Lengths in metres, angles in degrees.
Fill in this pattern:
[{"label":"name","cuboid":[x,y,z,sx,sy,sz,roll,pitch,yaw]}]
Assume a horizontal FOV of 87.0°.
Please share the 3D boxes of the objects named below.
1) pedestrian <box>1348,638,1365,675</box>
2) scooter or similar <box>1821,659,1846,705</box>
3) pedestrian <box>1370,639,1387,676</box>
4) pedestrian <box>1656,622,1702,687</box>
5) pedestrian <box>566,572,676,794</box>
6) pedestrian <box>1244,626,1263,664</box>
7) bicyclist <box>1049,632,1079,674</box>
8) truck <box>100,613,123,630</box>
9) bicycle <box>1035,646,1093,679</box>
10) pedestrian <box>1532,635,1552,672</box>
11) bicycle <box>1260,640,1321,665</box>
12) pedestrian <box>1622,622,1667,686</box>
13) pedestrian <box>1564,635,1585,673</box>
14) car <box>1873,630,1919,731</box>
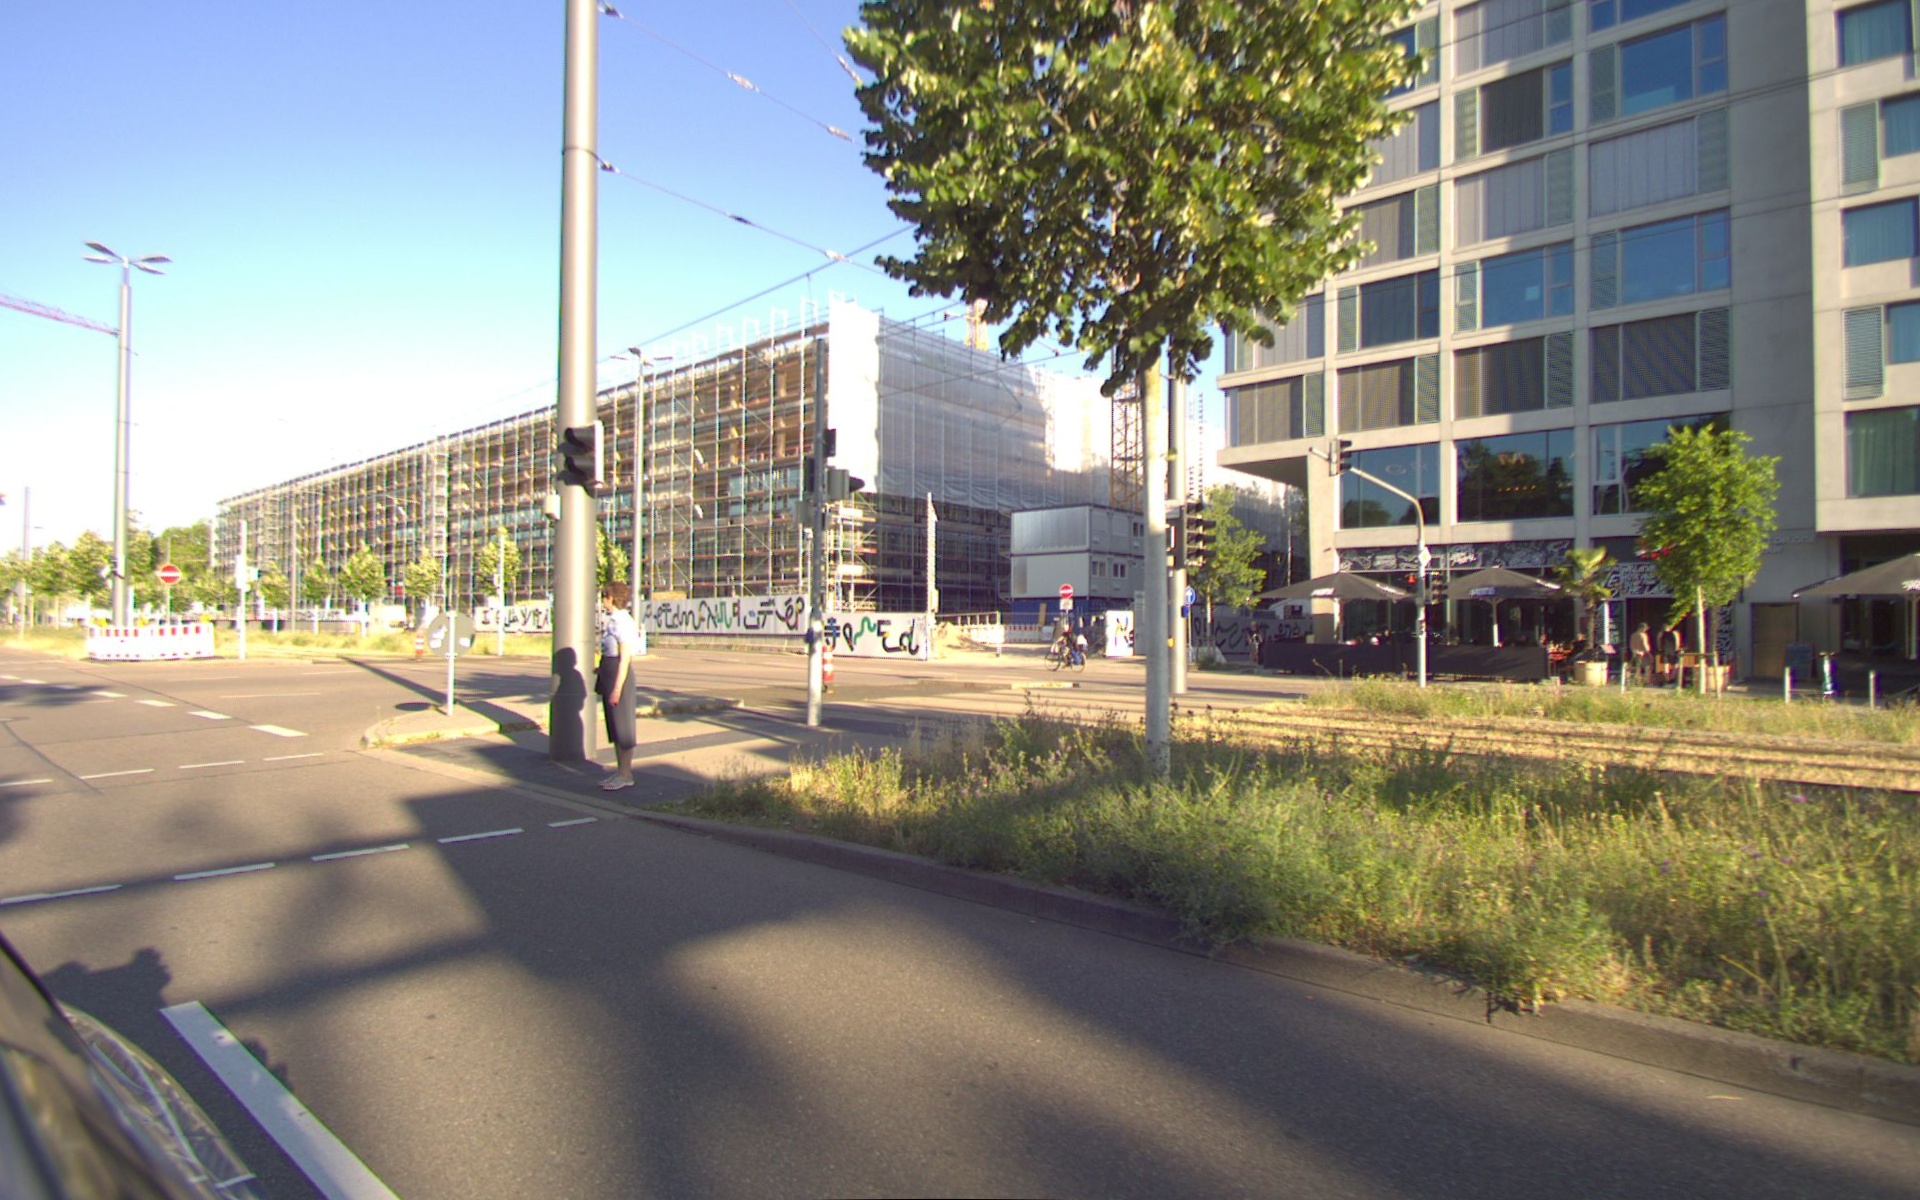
[{"label":"pedestrian","cuboid":[13.315,1.895,33.968,0.432,1.203,0.360,-1,-2,38]},{"label":"scooter or similar","cuboid":[20.051,1.869,23.237,0.406,1.014,1.230,-1,-3,41]},{"label":"pedestrian","cuboid":[13.688,1.883,33.069,0.432,1.203,0.360,-1,-2,38]},{"label":"pedestrian","cuboid":[19.723,1.485,27.766,0.858,1.734,0.805,2,-2,-40]},{"label":"pedestrian","cuboid":[-2.776,0.654,8.284,0.591,1.712,0.714,2,-2,-44]},{"label":"pedestrian","cuboid":[11.714,1.799,40.394,0.576,1.510,0.580,-1,-2,39]},{"label":"bicyclist","cuboid":[3.706,1.881,35.999,0.851,1.476,0.618,-1,-2,42]},{"label":"truck","cuboid":[-130.026,3.329,155.104,4.739,2.593,2.115,-2,-3,43]},{"label":"bicycle","cuboid":[3.694,2.211,36.004,2.077,1.075,0.618,-1,-2,42]},{"label":"pedestrian","cuboid":[19.519,1.796,33.927,0.497,1.231,0.427,-1,-2,41]},{"label":"bicycle","cuboid":[12.837,2.027,39.365,2.215,0.943,0.612,-1,-2,41]},{"label":"pedestrian","cuboid":[19.176,1.496,28.347,0.858,1.734,0.805,2,-2,-40]},{"label":"pedestrian","cuboid":[20.187,1.782,33.256,0.497,1.231,0.427,-1,-2,41]},{"label":"car","cuboid":[14.983,1.069,12.912,4.847,1.354,1.871,-1,-2,41]}]
